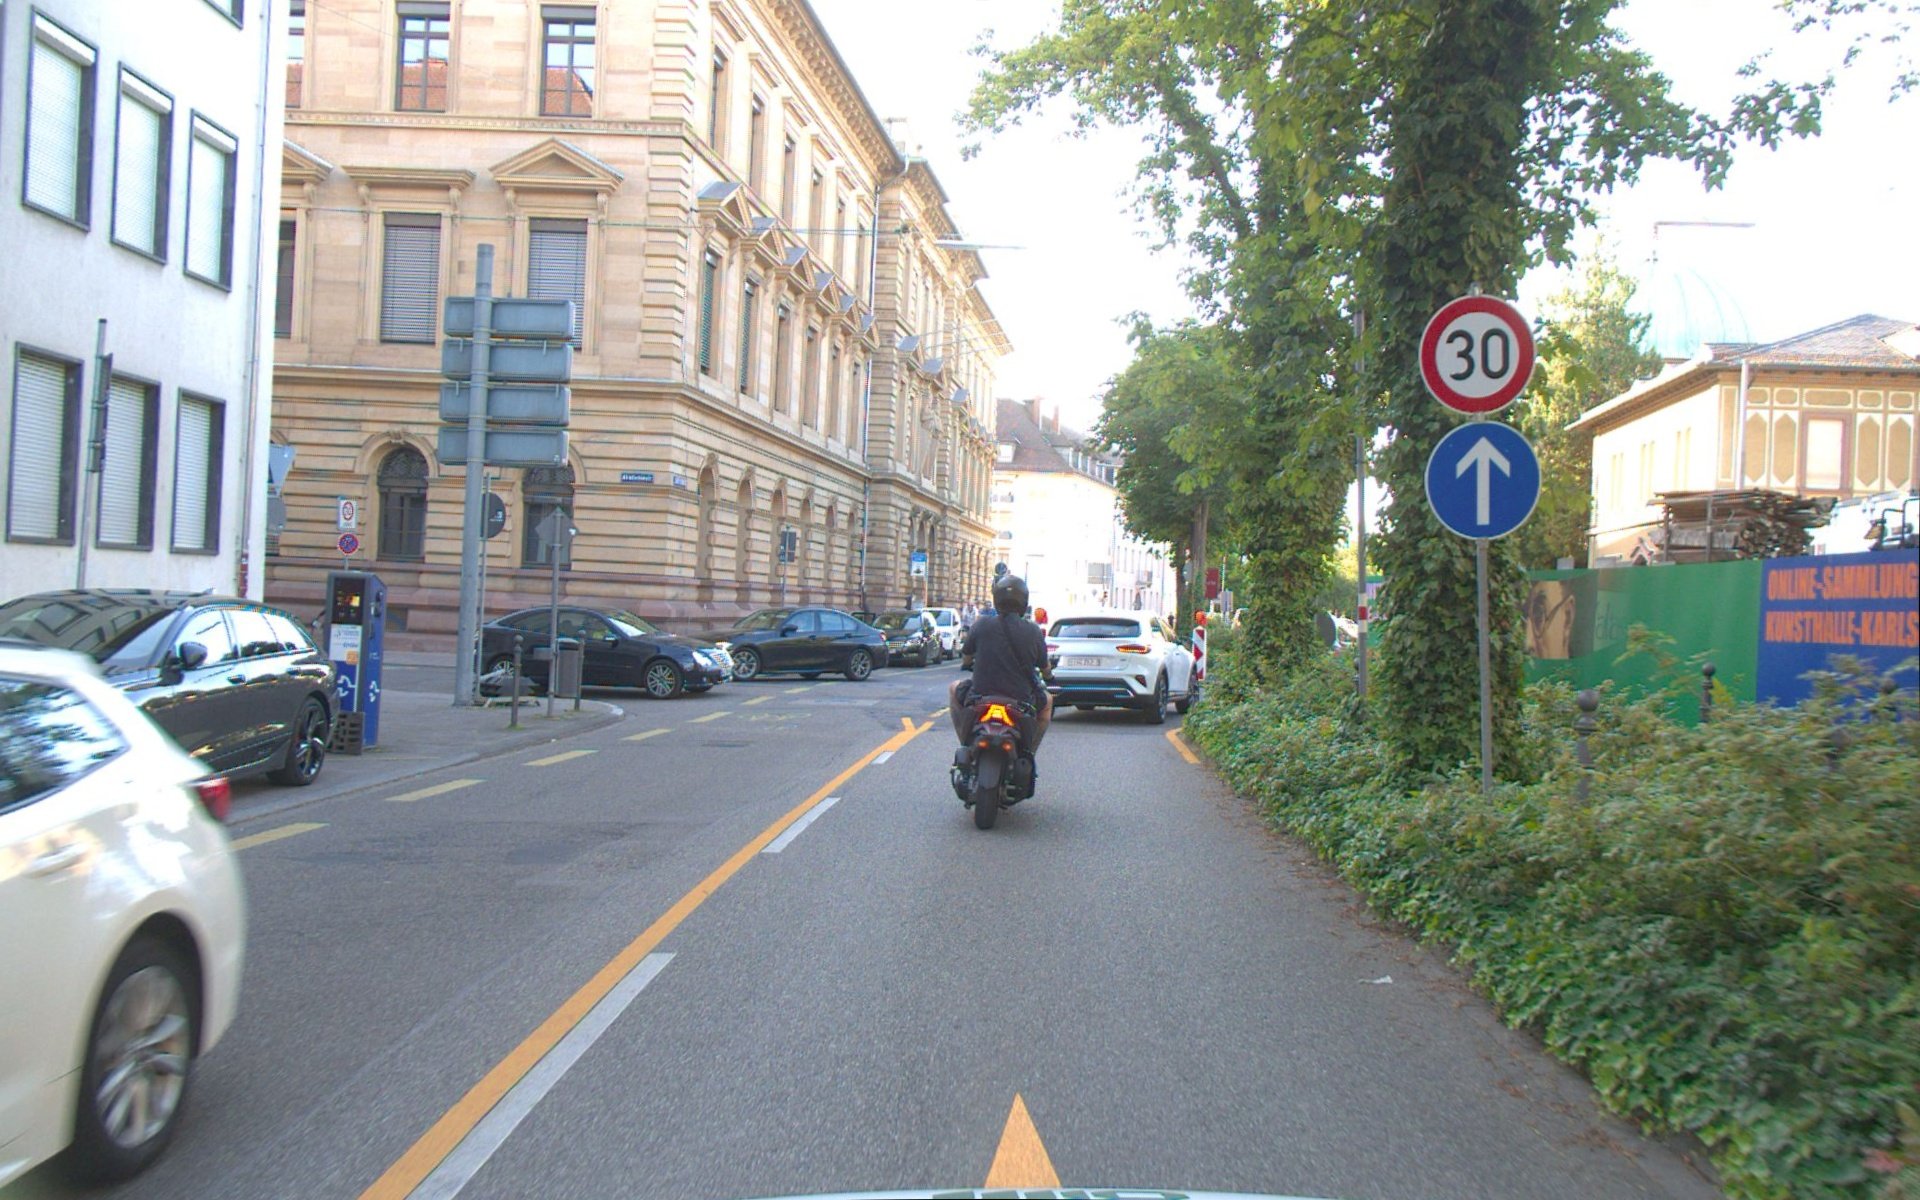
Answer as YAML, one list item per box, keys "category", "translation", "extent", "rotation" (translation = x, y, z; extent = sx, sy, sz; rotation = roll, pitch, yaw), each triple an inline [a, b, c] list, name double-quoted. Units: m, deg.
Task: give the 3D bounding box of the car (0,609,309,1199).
- category: "car"
  translation: [-2.886, 0.756, 2.989]
  extent: [1.699, 1.446, 4.428]
  rotation: [1, 0, -1]

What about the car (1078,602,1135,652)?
- category: "car"
  translation: [5.321, 0.955, 60.678]
  extent: [1.952, 1.724, 4.401]
  rotation: [1, 0, 4]

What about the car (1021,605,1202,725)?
- category: "car"
  translation: [2.220, 0.838, 23.231]
  extent: [1.811, 1.506, 4.060]
  rotation: [0, 0, 16]

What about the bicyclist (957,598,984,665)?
- category: "bicyclist"
  translation: [0.274, 0.794, 42.394]
  extent: [0.554, 1.696, 0.835]
  rotation: [1, 0, 6]

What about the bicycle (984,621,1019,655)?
- category: "bicycle"
  translation: [1.356, 1.221, 53.377]
  extent: [0.522, 1.053, 2.036]
  rotation: [1, 0, 19]

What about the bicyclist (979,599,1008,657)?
- category: "bicyclist"
  translation: [0.962, 0.809, 47.607]
  extent: [0.615, 1.642, 0.870]
  rotation: [1, 0, 14]

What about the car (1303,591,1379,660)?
- category: "car"
  translation: [11.802, 0.770, 51.402]
  extent: [1.801, 1.945, 4.060]
  rotation: [3, 0, 7]

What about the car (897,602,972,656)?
- category: "car"
  translation: [-0.737, 0.863, 51.222]
  extent: [1.952, 1.555, 4.186]
  rotation: [1, 0, 4]

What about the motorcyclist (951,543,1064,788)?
- category: "motorcyclist"
  translation: [0.351, 0.458, 11.891]
  extent: [0.643, 1.679, 0.651]
  rotation: [3, 0, 9]

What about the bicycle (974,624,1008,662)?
- category: "bicycle"
  translation: [0.903, 1.221, 47.617]
  extent: [0.521, 1.053, 1.908]
  rotation: [1, 0, 14]

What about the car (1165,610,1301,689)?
- category: "car"
  translation: [5.909, 1.056, 35.482]
  extent: [1.804, 1.489, 4.054]
  rotation: [3, 0, 25]

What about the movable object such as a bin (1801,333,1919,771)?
- category: "movable object such as a bin"
  translation: [11.673, -0.473, 15.977]
  extent: [3.238, 4.618, 7.907]
  rotation: [2, 0, 2]

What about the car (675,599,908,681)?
- category: "car"
  translation: [-3.289, 0.776, 32.811]
  extent: [4.431, 1.486, 1.749]
  rotation: [1, 0, -42]

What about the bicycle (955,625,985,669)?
- category: "bicycle"
  translation: [0.264, 1.177, 42.277]
  extent: [0.570, 1.053, 2.130]
  rotation: [1, 0, 5]

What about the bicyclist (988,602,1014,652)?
- category: "bicyclist"
  translation: [1.313, 0.881, 53.351]
  extent: [0.615, 1.581, 0.732]
  rotation: [1, 0, 19]

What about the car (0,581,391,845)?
- category: "car"
  translation: [-6.054, 0.682, 12.505]
  extent: [1.787, 1.530, 4.759]
  rotation: [3, 0, 0]

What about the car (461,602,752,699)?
- category: "car"
  translation: [-5.677, 0.788, 26.808]
  extent: [4.221, 1.414, 1.777]
  rotation: [1, 0, 9]

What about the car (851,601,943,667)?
- category: "car"
  translation: [-1.618, 0.864, 43.828]
  extent: [1.952, 1.594, 4.291]
  rotation: [1, 0, 4]

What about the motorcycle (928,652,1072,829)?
- category: "motorcycle"
  translation: [0.322, 0.954, 11.805]
  extent: [0.779, 1.084, 1.726]
  rotation: [3, 0, 8]
